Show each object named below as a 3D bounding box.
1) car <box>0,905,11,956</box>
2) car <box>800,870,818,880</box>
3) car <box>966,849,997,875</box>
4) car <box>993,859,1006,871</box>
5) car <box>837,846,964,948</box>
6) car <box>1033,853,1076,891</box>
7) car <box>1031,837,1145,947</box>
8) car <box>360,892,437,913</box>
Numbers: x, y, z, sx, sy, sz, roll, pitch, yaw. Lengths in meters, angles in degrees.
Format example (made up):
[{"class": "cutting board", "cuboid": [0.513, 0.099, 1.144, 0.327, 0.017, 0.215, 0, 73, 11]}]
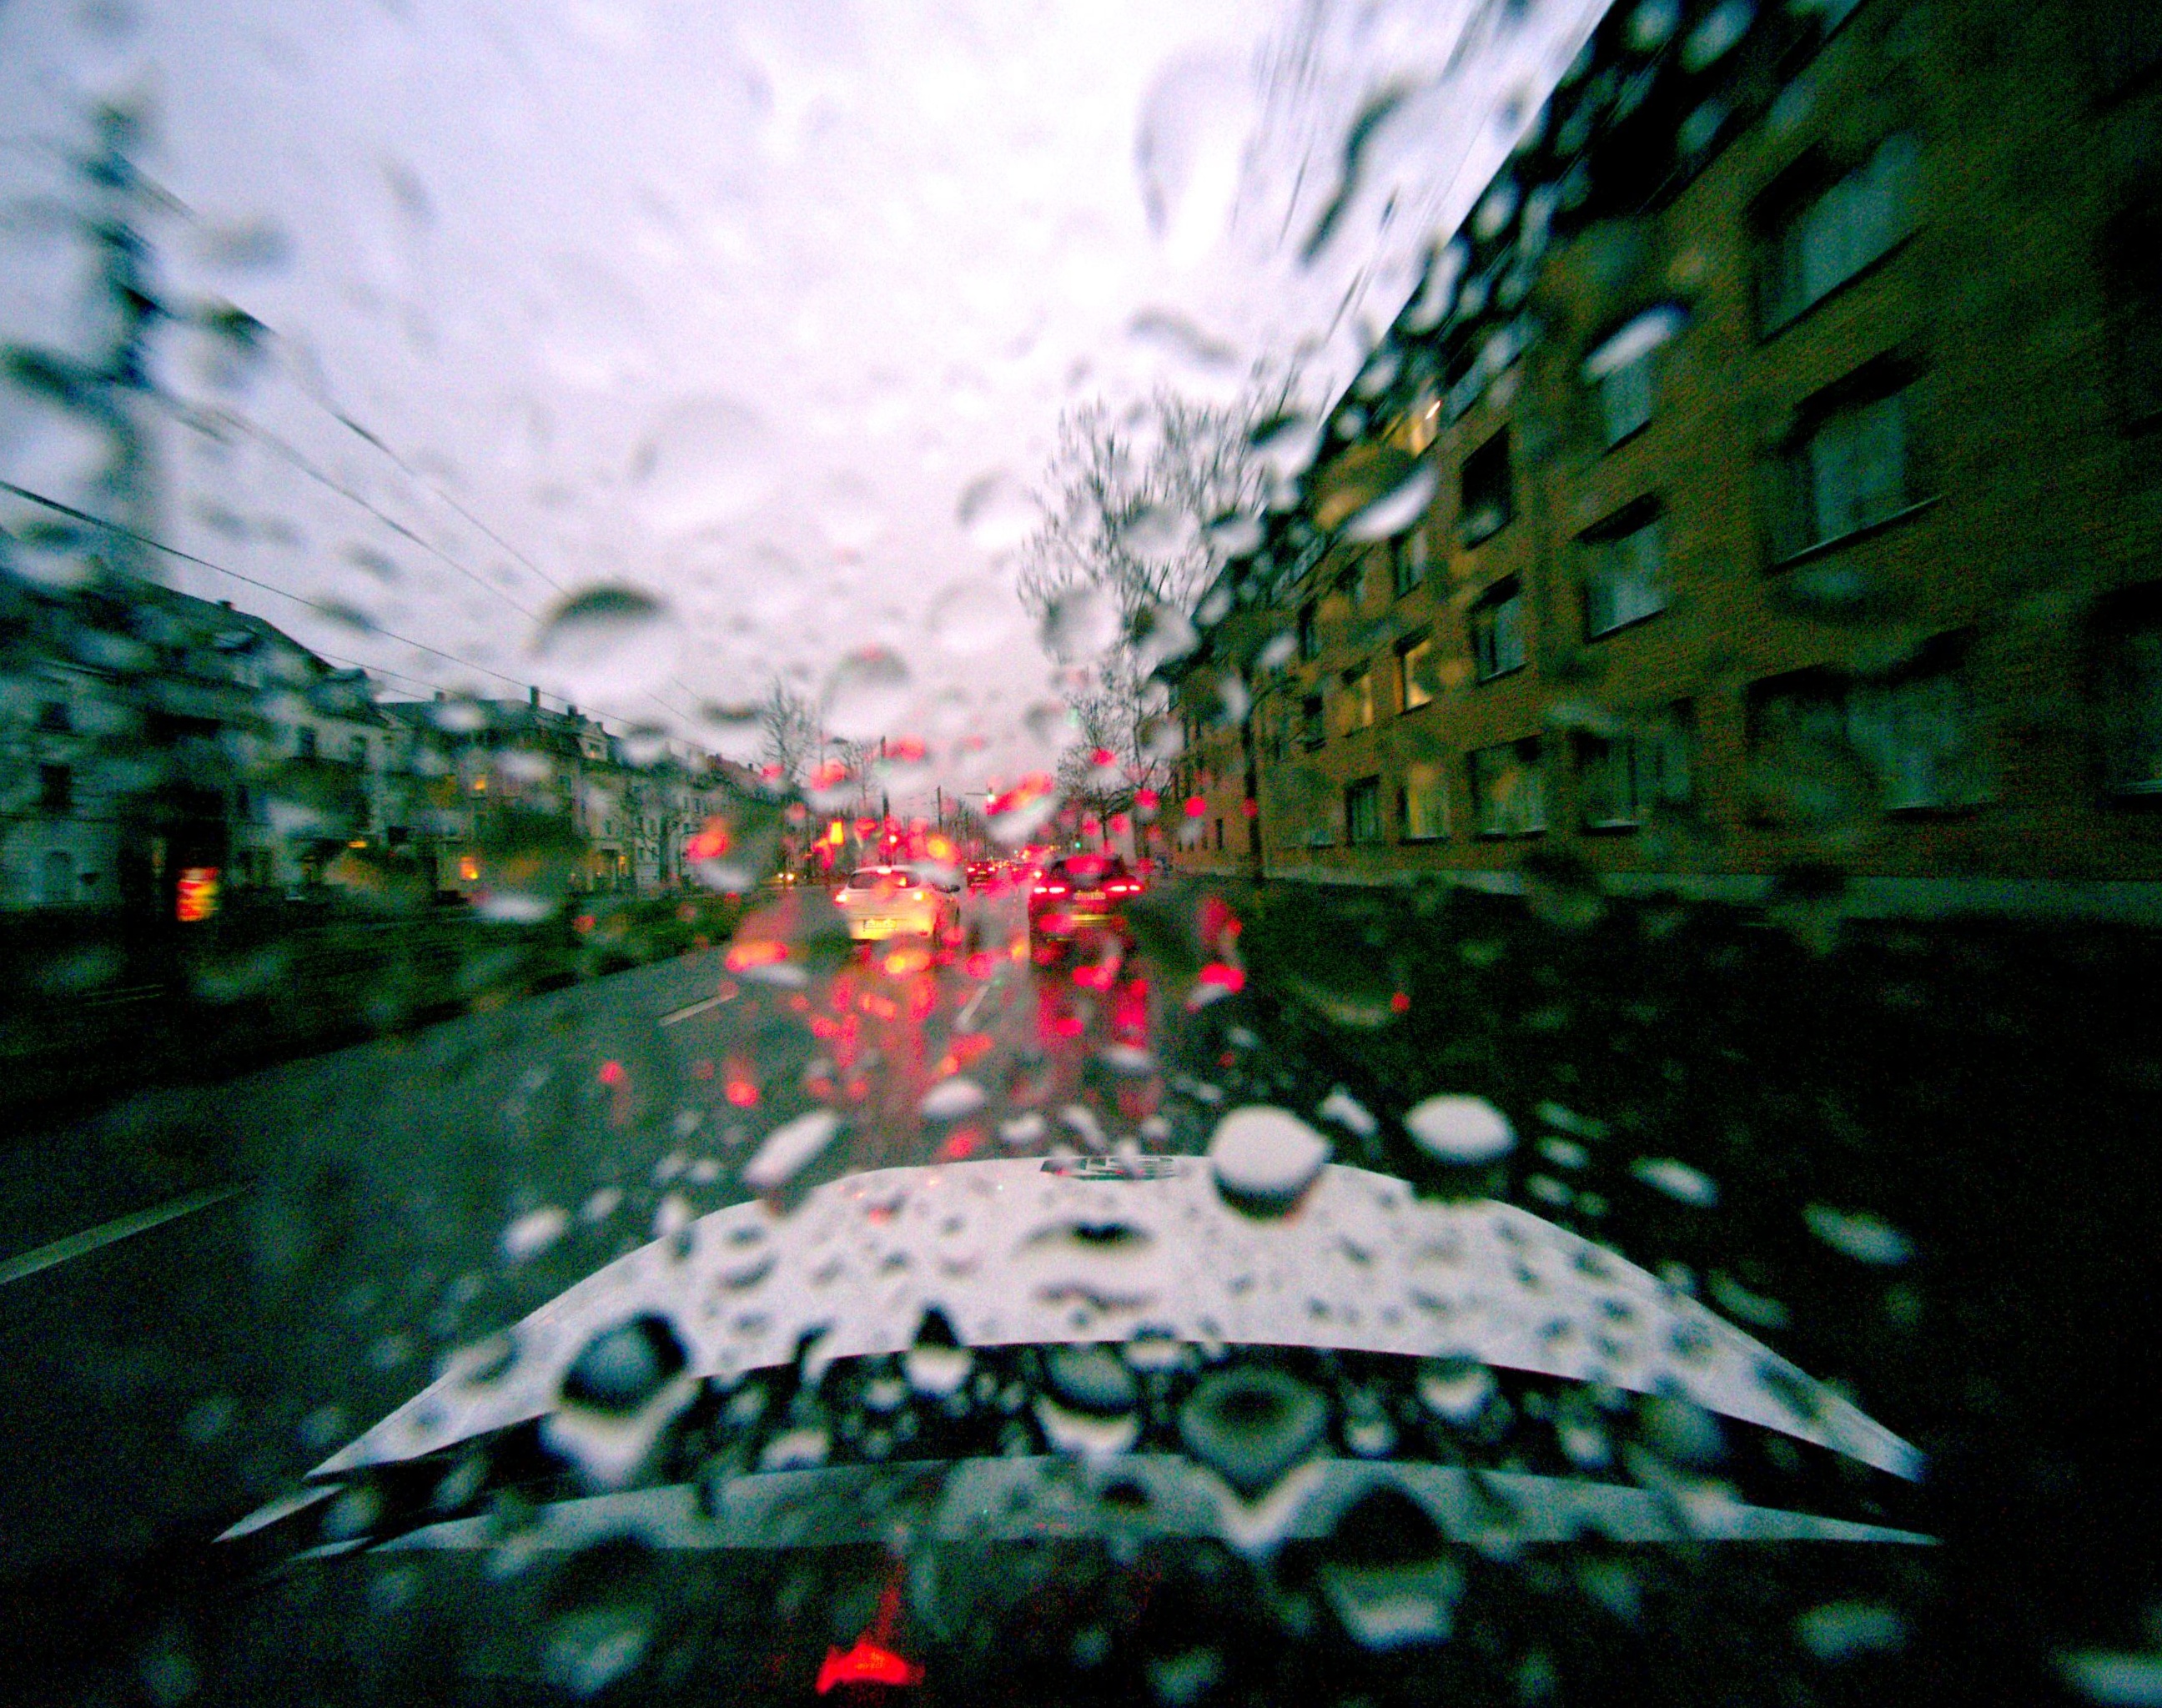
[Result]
[{"class": "car", "cuboid": [-30.557, 2.113, 21.787, 3.948, 1.332, 2.013, -3, -1, 33]}, {"class": "car", "cuboid": [-40.994, 3.125, 122.758, 1.773, 1.354, 3.550, -3, 0, -5]}, {"class": "car", "cuboid": [-6.314, 0.511, 52.044, 1.669, 1.600, 4.047, -1, -1, -4]}, {"class": "car", "cuboid": [-13.866, 1.853, 138.843, 1.989, 2.013, 3.995, -2, 0, -3]}, {"class": "car", "cuboid": [-3.172, 0.709, 15.072, 1.669, 1.600, 4.047, -1, -1, -4]}, {"class": "car", "cuboid": [-1.384, 0.863, 41.064, 1.990, 1.744, 3.994, -2, -1, -4]}, {"class": "car", "cuboid": [-0.021, 0.584, 14.183, 1.669, 1.600, 4.047, -1, -1, -4]}, {"class": "car", "cuboid": [-52.073, 3.680, 62.179, 3.987, 1.420, 1.993, -2, -1, -10]}]
